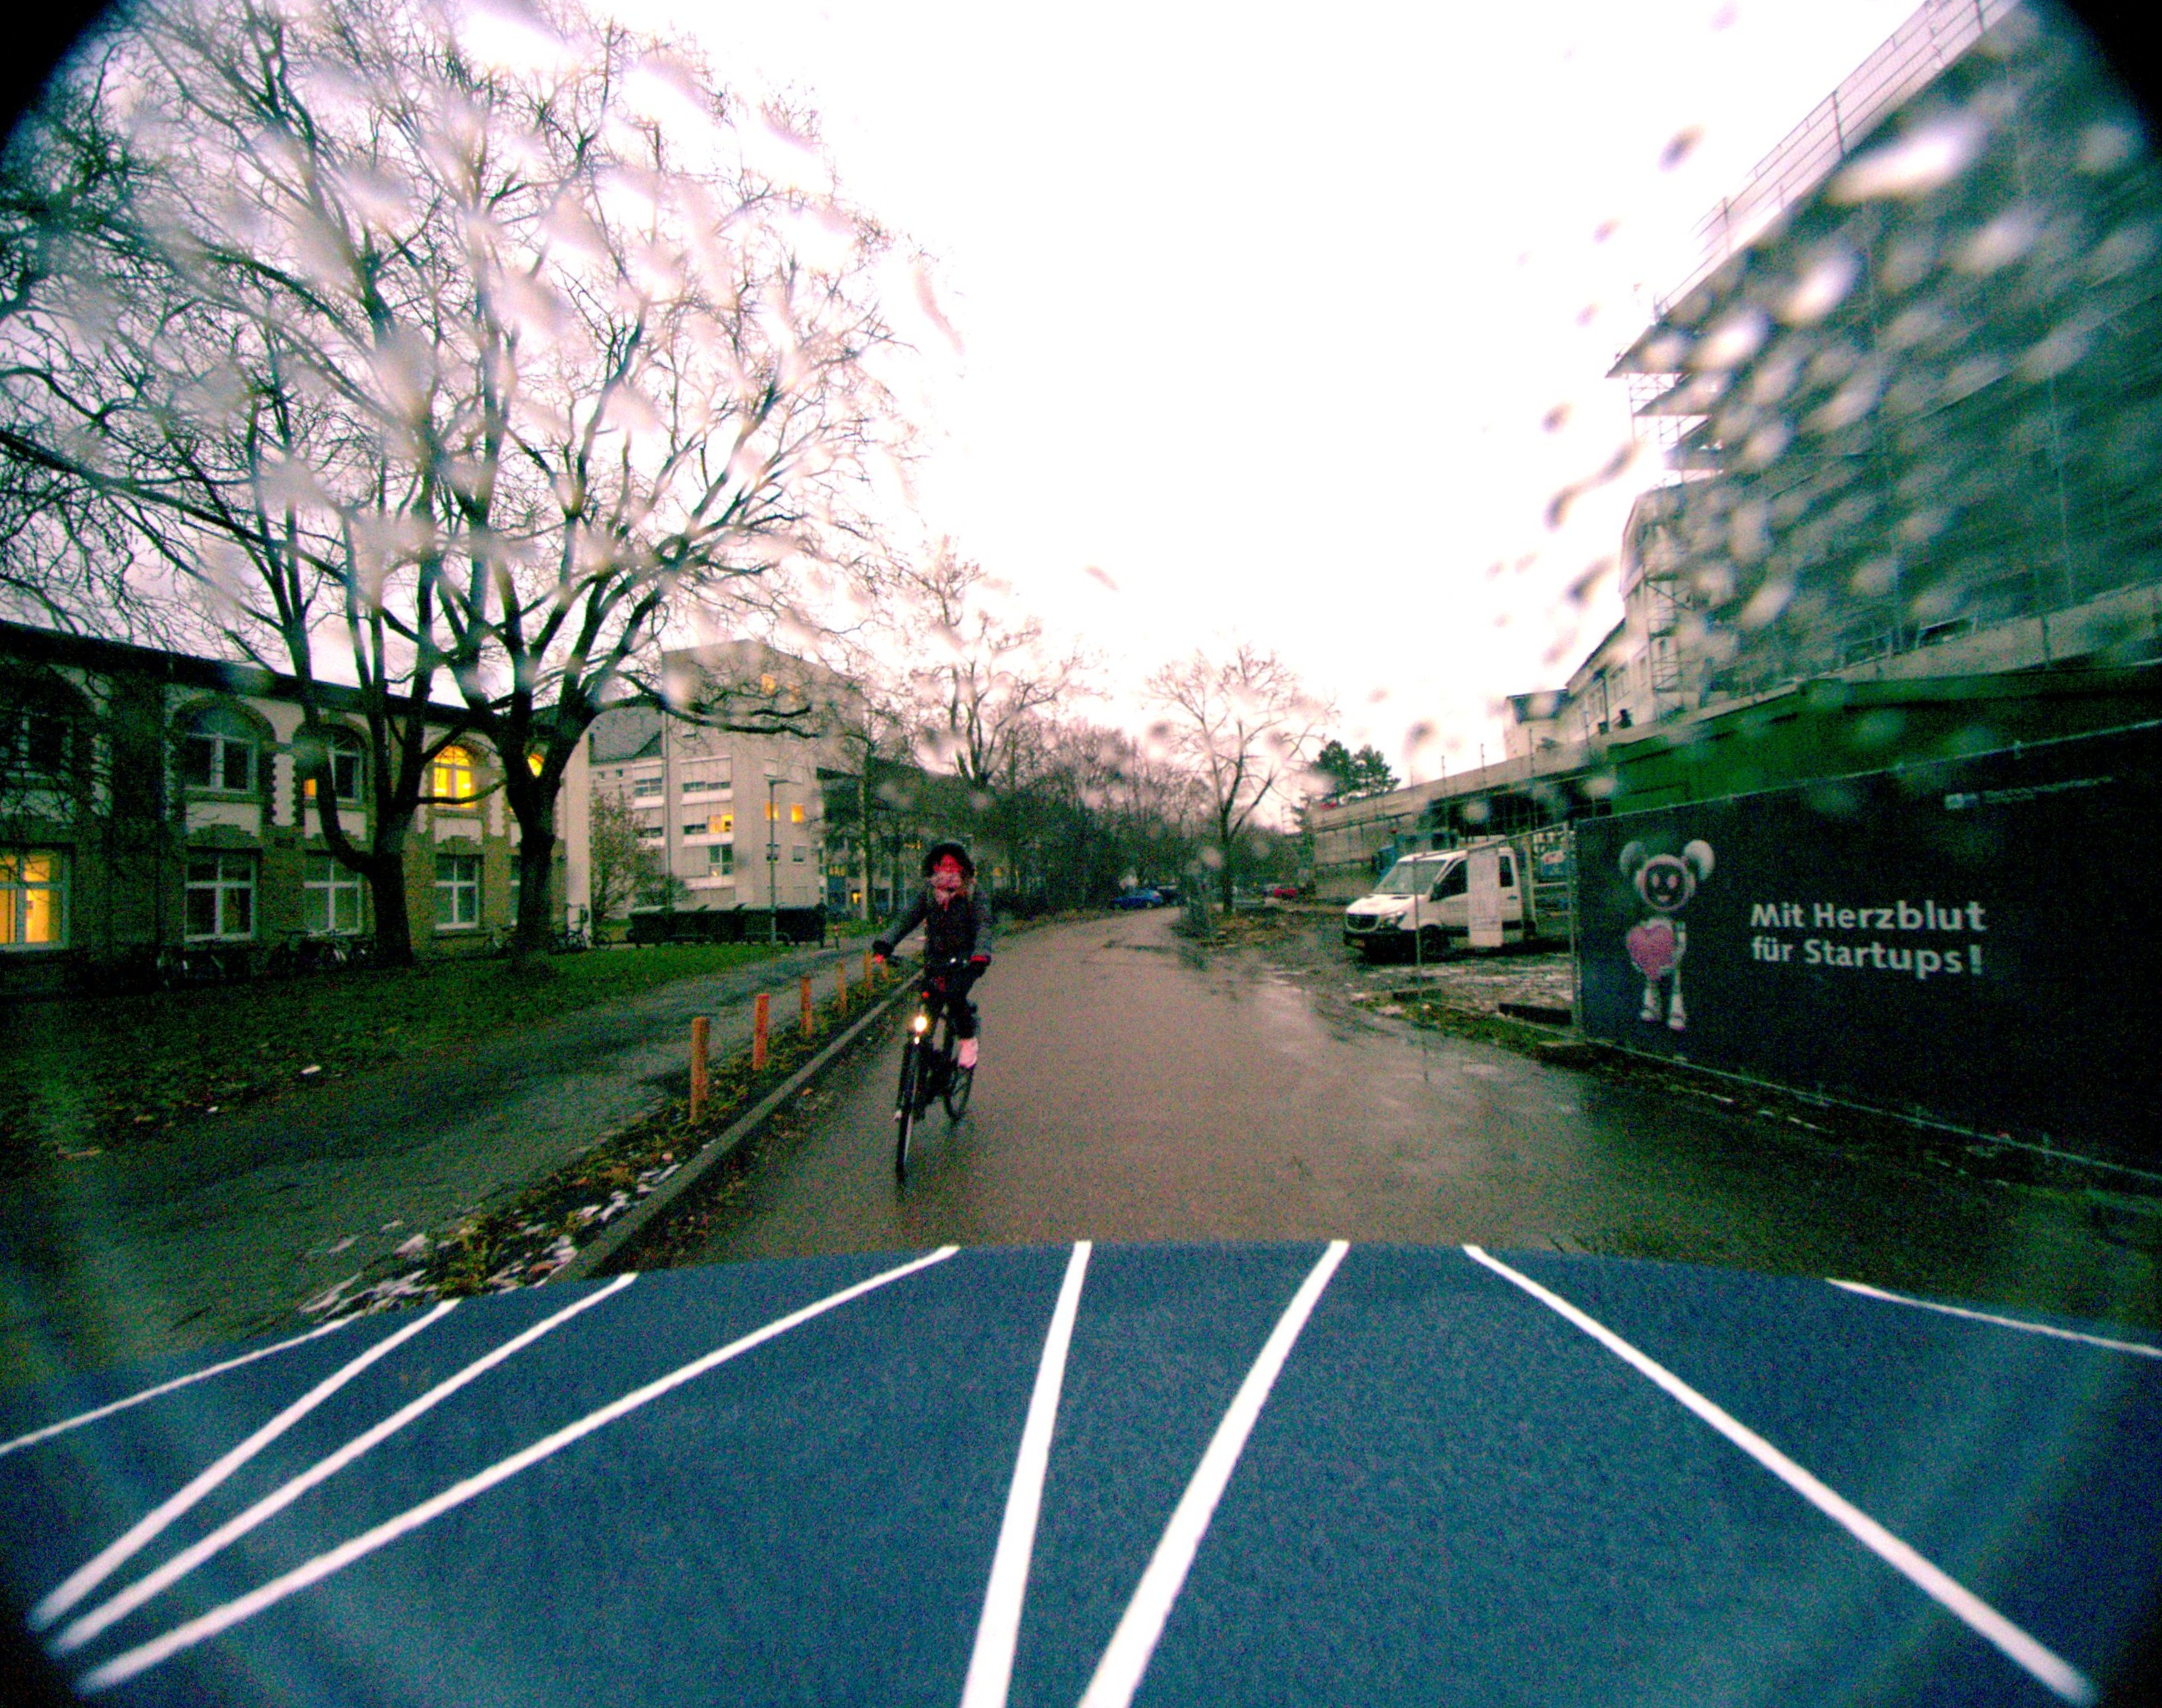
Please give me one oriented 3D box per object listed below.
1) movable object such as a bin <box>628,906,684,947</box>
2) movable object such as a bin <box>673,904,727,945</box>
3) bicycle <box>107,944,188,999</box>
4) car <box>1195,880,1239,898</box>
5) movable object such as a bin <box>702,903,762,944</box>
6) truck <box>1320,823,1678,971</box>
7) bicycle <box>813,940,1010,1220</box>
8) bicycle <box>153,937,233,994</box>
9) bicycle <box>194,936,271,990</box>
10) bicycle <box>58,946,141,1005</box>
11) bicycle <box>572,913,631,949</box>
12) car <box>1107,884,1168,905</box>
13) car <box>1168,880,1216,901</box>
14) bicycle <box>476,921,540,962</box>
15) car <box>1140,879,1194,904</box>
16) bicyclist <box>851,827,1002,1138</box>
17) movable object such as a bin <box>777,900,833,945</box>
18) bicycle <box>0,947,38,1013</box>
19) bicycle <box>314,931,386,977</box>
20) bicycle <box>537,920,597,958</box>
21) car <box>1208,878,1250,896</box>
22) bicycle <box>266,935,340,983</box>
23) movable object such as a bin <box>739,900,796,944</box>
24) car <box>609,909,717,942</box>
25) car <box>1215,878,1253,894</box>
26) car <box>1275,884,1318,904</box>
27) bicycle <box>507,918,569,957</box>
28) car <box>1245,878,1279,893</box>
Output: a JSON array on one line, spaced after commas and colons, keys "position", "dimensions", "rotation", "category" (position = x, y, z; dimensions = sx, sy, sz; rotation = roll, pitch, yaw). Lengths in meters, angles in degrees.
[{"position": [-14.170, 2.415, 25.353], "dimensions": [1.261, 1.306, 0.989], "rotation": [-2, -2, 18], "category": "movable object such as a bin"}, {"position": [-12.591, 2.313, 25.130], "dimensions": [1.249, 1.272, 0.989], "rotation": [-2, -2, 18], "category": "movable object such as a bin"}, {"position": [-20.048, 2.500, 16.312], "dimensions": [2.136, 1.010, 0.574], "rotation": [-1, -1, 25], "category": "bicycle"}, {"position": [13.886, 3.549, 77.480], "dimensions": [3.991, 1.651, 2.004], "rotation": [-3, -2, 24], "category": "car"}, {"position": [-11.311, 2.244, 24.634], "dimensions": [1.435, 1.217, 0.989], "rotation": [-2, -2, 18], "category": "movable object such as a bin"}, {"position": [9.031, 0.835, 16.507], "dimensions": [7.083, 2.572, 2.131], "rotation": [-3, -1, -13], "category": "truck"}, {"position": [-0.882, 1.156, 4.490], "dimensions": [0.730, 1.125, 1.894], "rotation": [-2, -2, -1], "category": "bicycle"}, {"position": [-19.775, 2.453, 16.911], "dimensions": [2.136, 1.150, 0.574], "rotation": [-3, -2, 24], "category": "bicycle"}, {"position": [-19.532, 2.484, 17.483], "dimensions": [2.136, 1.150, 0.574], "rotation": [-3, -2, 24], "category": "bicycle"}, {"position": [-20.299, 2.480, 15.709], "dimensions": [2.136, 1.044, 0.574], "rotation": [-1, -1, 25], "category": "bicycle"}, {"position": [-16.145, 2.602, 25.572], "dimensions": [2.136, 1.150, 0.574], "rotation": [-3, -2, 24], "category": "bicycle"}, {"position": [4.326, 3.137, 57.744], "dimensions": [4.172, 1.468, 2.004], "rotation": [-2, -5, 21], "category": "car"}, {"position": [10.145, 3.323, 69.546], "dimensions": [3.991, 1.785, 1.805], "rotation": [-3, -2, 24], "category": "car"}, {"position": [-17.332, 2.631, 22.974], "dimensions": [2.136, 1.150, 0.574], "rotation": [-3, -2, 24], "category": "bicycle"}, {"position": [7.138, 3.101, 63.042], "dimensions": [3.991, 1.979, 2.004], "rotation": [-3, -2, 24], "category": "car"}, {"position": [-0.890, 0.713, 4.553], "dimensions": [0.706, 1.679, 0.771], "rotation": [-2, -2, -1], "category": "bicyclist"}, {"position": [-8.580, 2.123, 23.680], "dimensions": [1.322, 1.309, 1.064], "rotation": [-1, -1, 5], "category": "movable object such as a bin"}, {"position": [-20.650, 2.382, 14.436], "dimensions": [2.136, 1.150, 0.574], "rotation": [-3, -2, 24], "category": "bicycle"}, {"position": [-18.764, 2.551, 19.501], "dimensions": [2.136, 1.103, 0.574], "rotation": [-3, -2, 24], "category": "bicycle"}, {"position": [-16.757, 2.761, 24.769], "dimensions": [2.136, 1.150, 0.574], "rotation": [-3, -2, 24], "category": "bicycle"}, {"position": [15.949, 3.574, 81.820], "dimensions": [3.991, 1.785, 1.805], "rotation": [-3, -2, 24], "category": "car"}, {"position": [-19.096, 2.543, 18.648], "dimensions": [2.136, 1.085, 0.574], "rotation": [-3, -2, 24], "category": "bicycle"}, {"position": [-9.938, 2.142, 24.109], "dimensions": [1.305, 1.306, 0.989], "rotation": [-2, -2, 18], "category": "movable object such as a bin"}, {"position": [-19.580, 3.319, 35.768], "dimensions": [1.995, 1.273, 4.008], "rotation": [-3, -2, 28], "category": "car"}, {"position": [17.971, 3.776, 89.335], "dimensions": [3.991, 1.785, 1.805], "rotation": [-3, -2, 24], "category": "car"}, {"position": [18.173, 3.362, 63.936], "dimensions": [3.302, 1.513, 1.707], "rotation": [-3, -2, 20], "category": "car"}, {"position": [-17.022, 2.620, 23.811], "dimensions": [2.136, 1.150, 0.574], "rotation": [-3, -2, 24], "category": "bicycle"}, {"position": [23.630, 4.109, 99.183], "dimensions": [3.991, 1.785, 1.805], "rotation": [-3, -2, 24], "category": "car"}]
